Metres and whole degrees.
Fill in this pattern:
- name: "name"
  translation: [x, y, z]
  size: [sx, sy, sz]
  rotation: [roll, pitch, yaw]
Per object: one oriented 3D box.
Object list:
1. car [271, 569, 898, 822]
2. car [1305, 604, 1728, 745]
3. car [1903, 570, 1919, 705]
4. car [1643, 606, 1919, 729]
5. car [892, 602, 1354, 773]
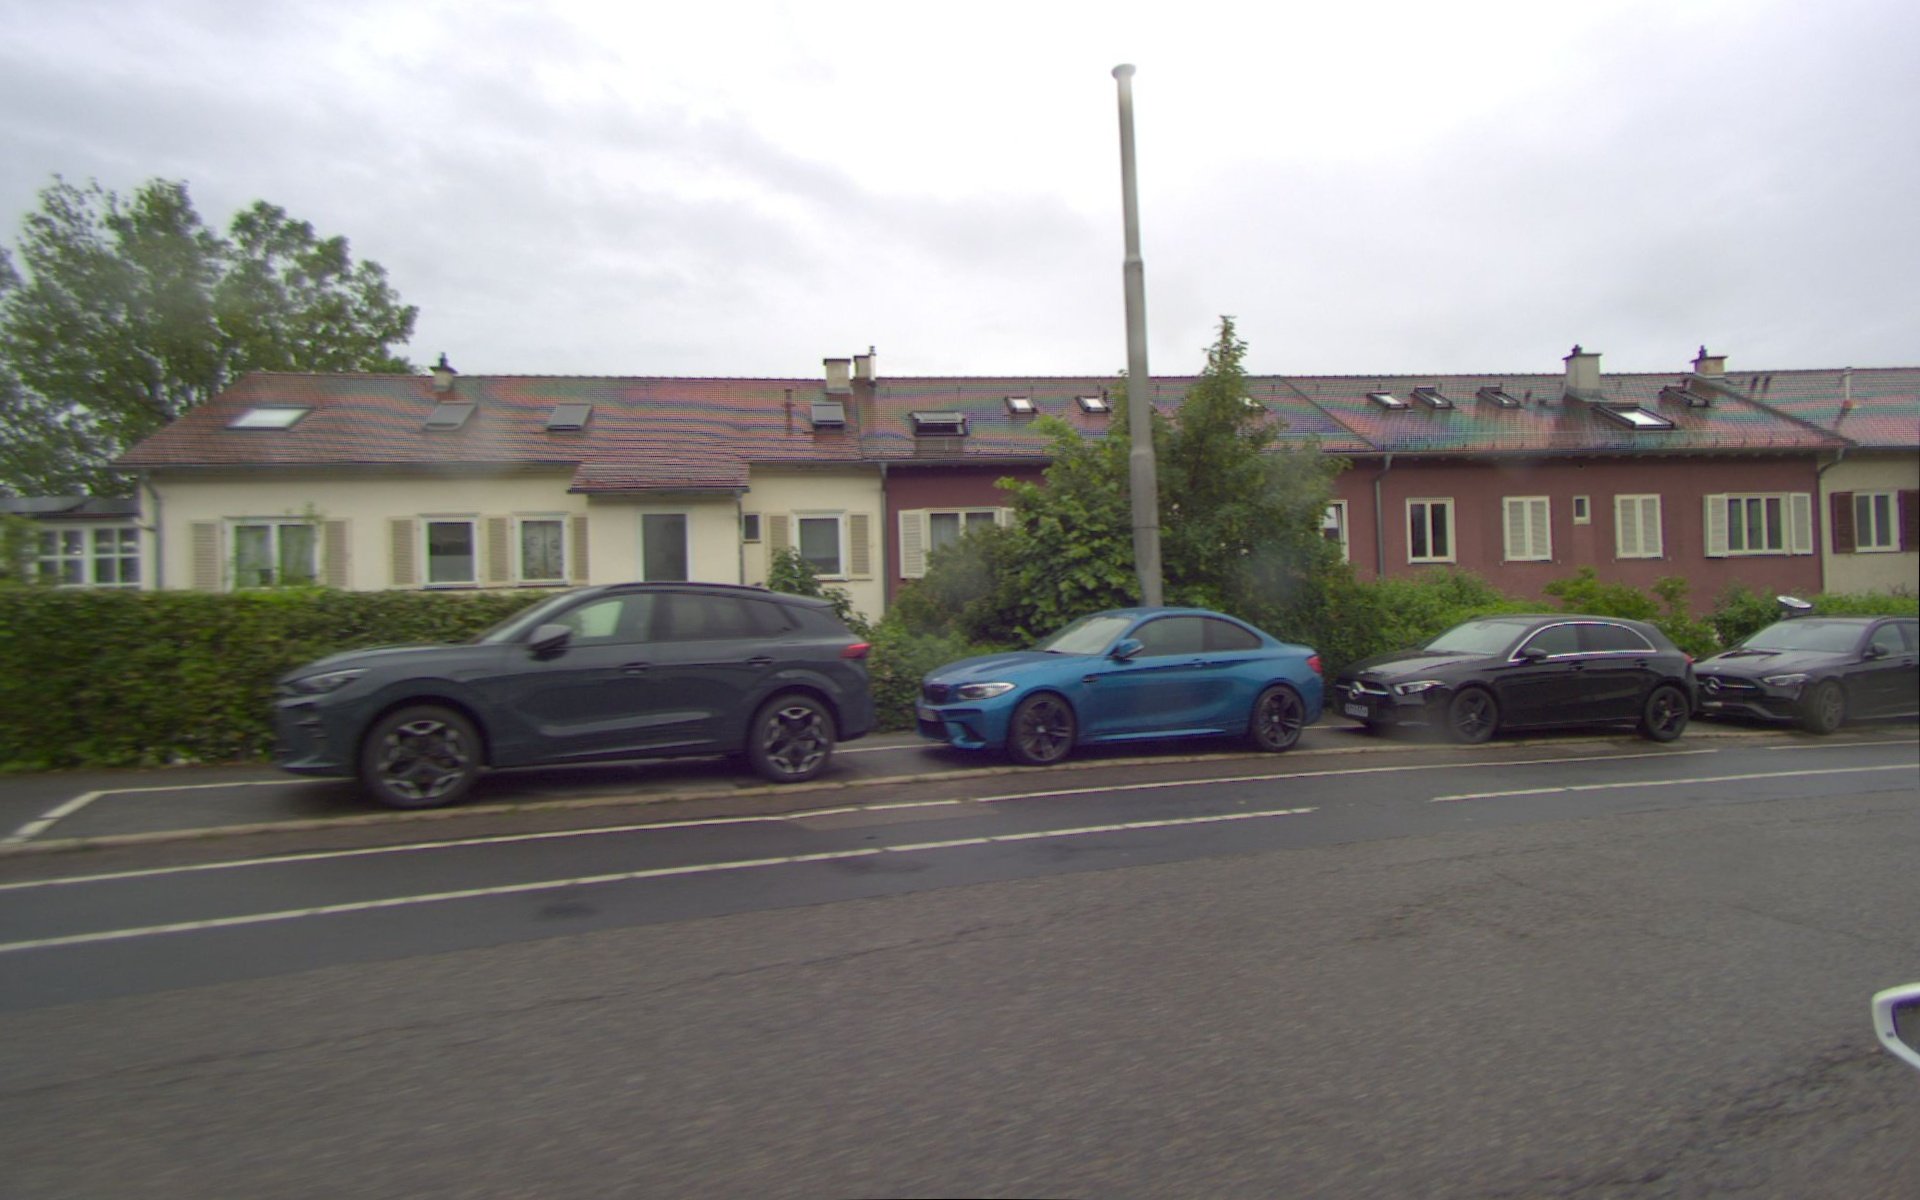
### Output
- name: "car"
  translation: [-2.874, 0.629, 8.220]
  size: [4.333, 1.598, 1.914]
  rotation: [1, 0, -28]
- name: "car"
  translation: [6.655, 0.842, 12.139]
  size: [4.445, 1.496, 1.809]
  rotation: [1, 0, -14]
- name: "car"
  translation: [17.439, 0.625, 15.367]
  size: [4.931, 2.106, 1.850]
  rotation: [1, 0, -11]
- name: "car"
  translation: [11.917, 0.874, 13.791]
  size: [4.449, 1.496, 1.807]
  rotation: [1, 0, -17]
- name: "car"
  translation: [1.674, 0.764, 10.156]
  size: [4.410, 1.423, 1.695]
  rotation: [1, 0, -24]
